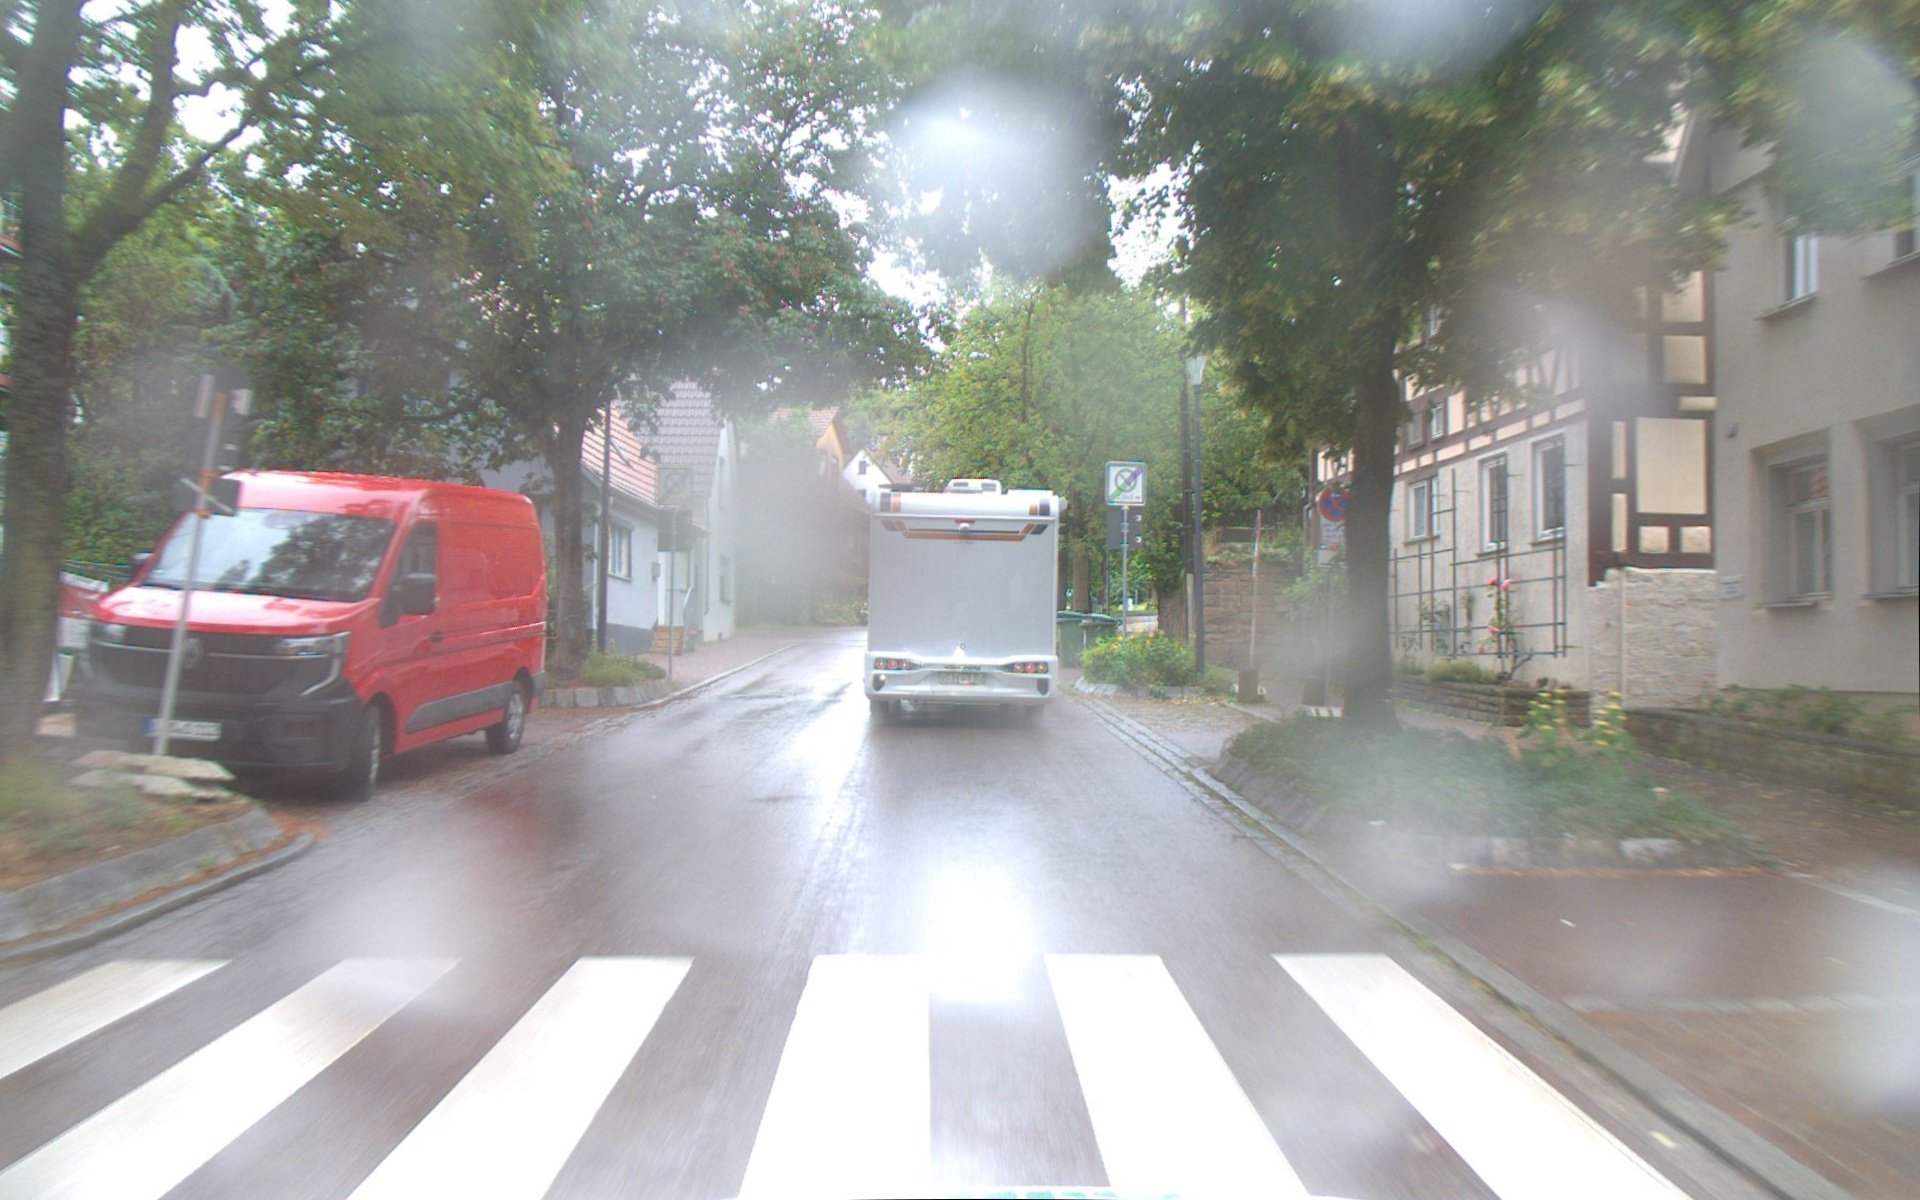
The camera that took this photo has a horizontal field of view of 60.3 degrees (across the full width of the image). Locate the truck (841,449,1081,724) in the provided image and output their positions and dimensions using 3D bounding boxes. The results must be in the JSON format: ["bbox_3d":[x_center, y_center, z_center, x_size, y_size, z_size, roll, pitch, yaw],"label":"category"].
[{"bbox_3d":[-0.048,-0.195,21.591,2.640,3.038,6.235,1,1,-1],"label":"truck"}]

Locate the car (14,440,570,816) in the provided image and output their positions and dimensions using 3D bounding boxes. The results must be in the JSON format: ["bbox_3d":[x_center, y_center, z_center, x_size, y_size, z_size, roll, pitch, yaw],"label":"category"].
[{"bbox_3d":[-5.235,0.155,14.155,2.256,2.526,5.786,1,1,1],"label":"car"}]

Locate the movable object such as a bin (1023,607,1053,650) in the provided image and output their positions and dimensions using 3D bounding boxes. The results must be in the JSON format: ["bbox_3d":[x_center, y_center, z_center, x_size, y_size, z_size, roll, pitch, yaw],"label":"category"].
[{"bbox_3d":[2.113,0.773,44.780,0.753,1.126,0.884,-1,0,-1],"label":"movable object such as a bin"}]

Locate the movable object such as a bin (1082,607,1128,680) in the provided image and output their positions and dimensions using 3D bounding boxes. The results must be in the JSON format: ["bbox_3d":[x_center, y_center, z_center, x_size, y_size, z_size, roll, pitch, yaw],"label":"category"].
[{"bbox_3d":[2.503,0.741,28.659,0.706,1.234,0.727,1,0,-1],"label":"movable object such as a bin"}]

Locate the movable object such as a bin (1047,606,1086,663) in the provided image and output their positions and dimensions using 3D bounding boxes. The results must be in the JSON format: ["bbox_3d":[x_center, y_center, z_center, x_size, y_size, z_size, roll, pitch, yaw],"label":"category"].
[{"bbox_3d":[2.216,0.711,34.508,0.709,1.163,0.703,1,0,-4],"label":"movable object such as a bin"}]
